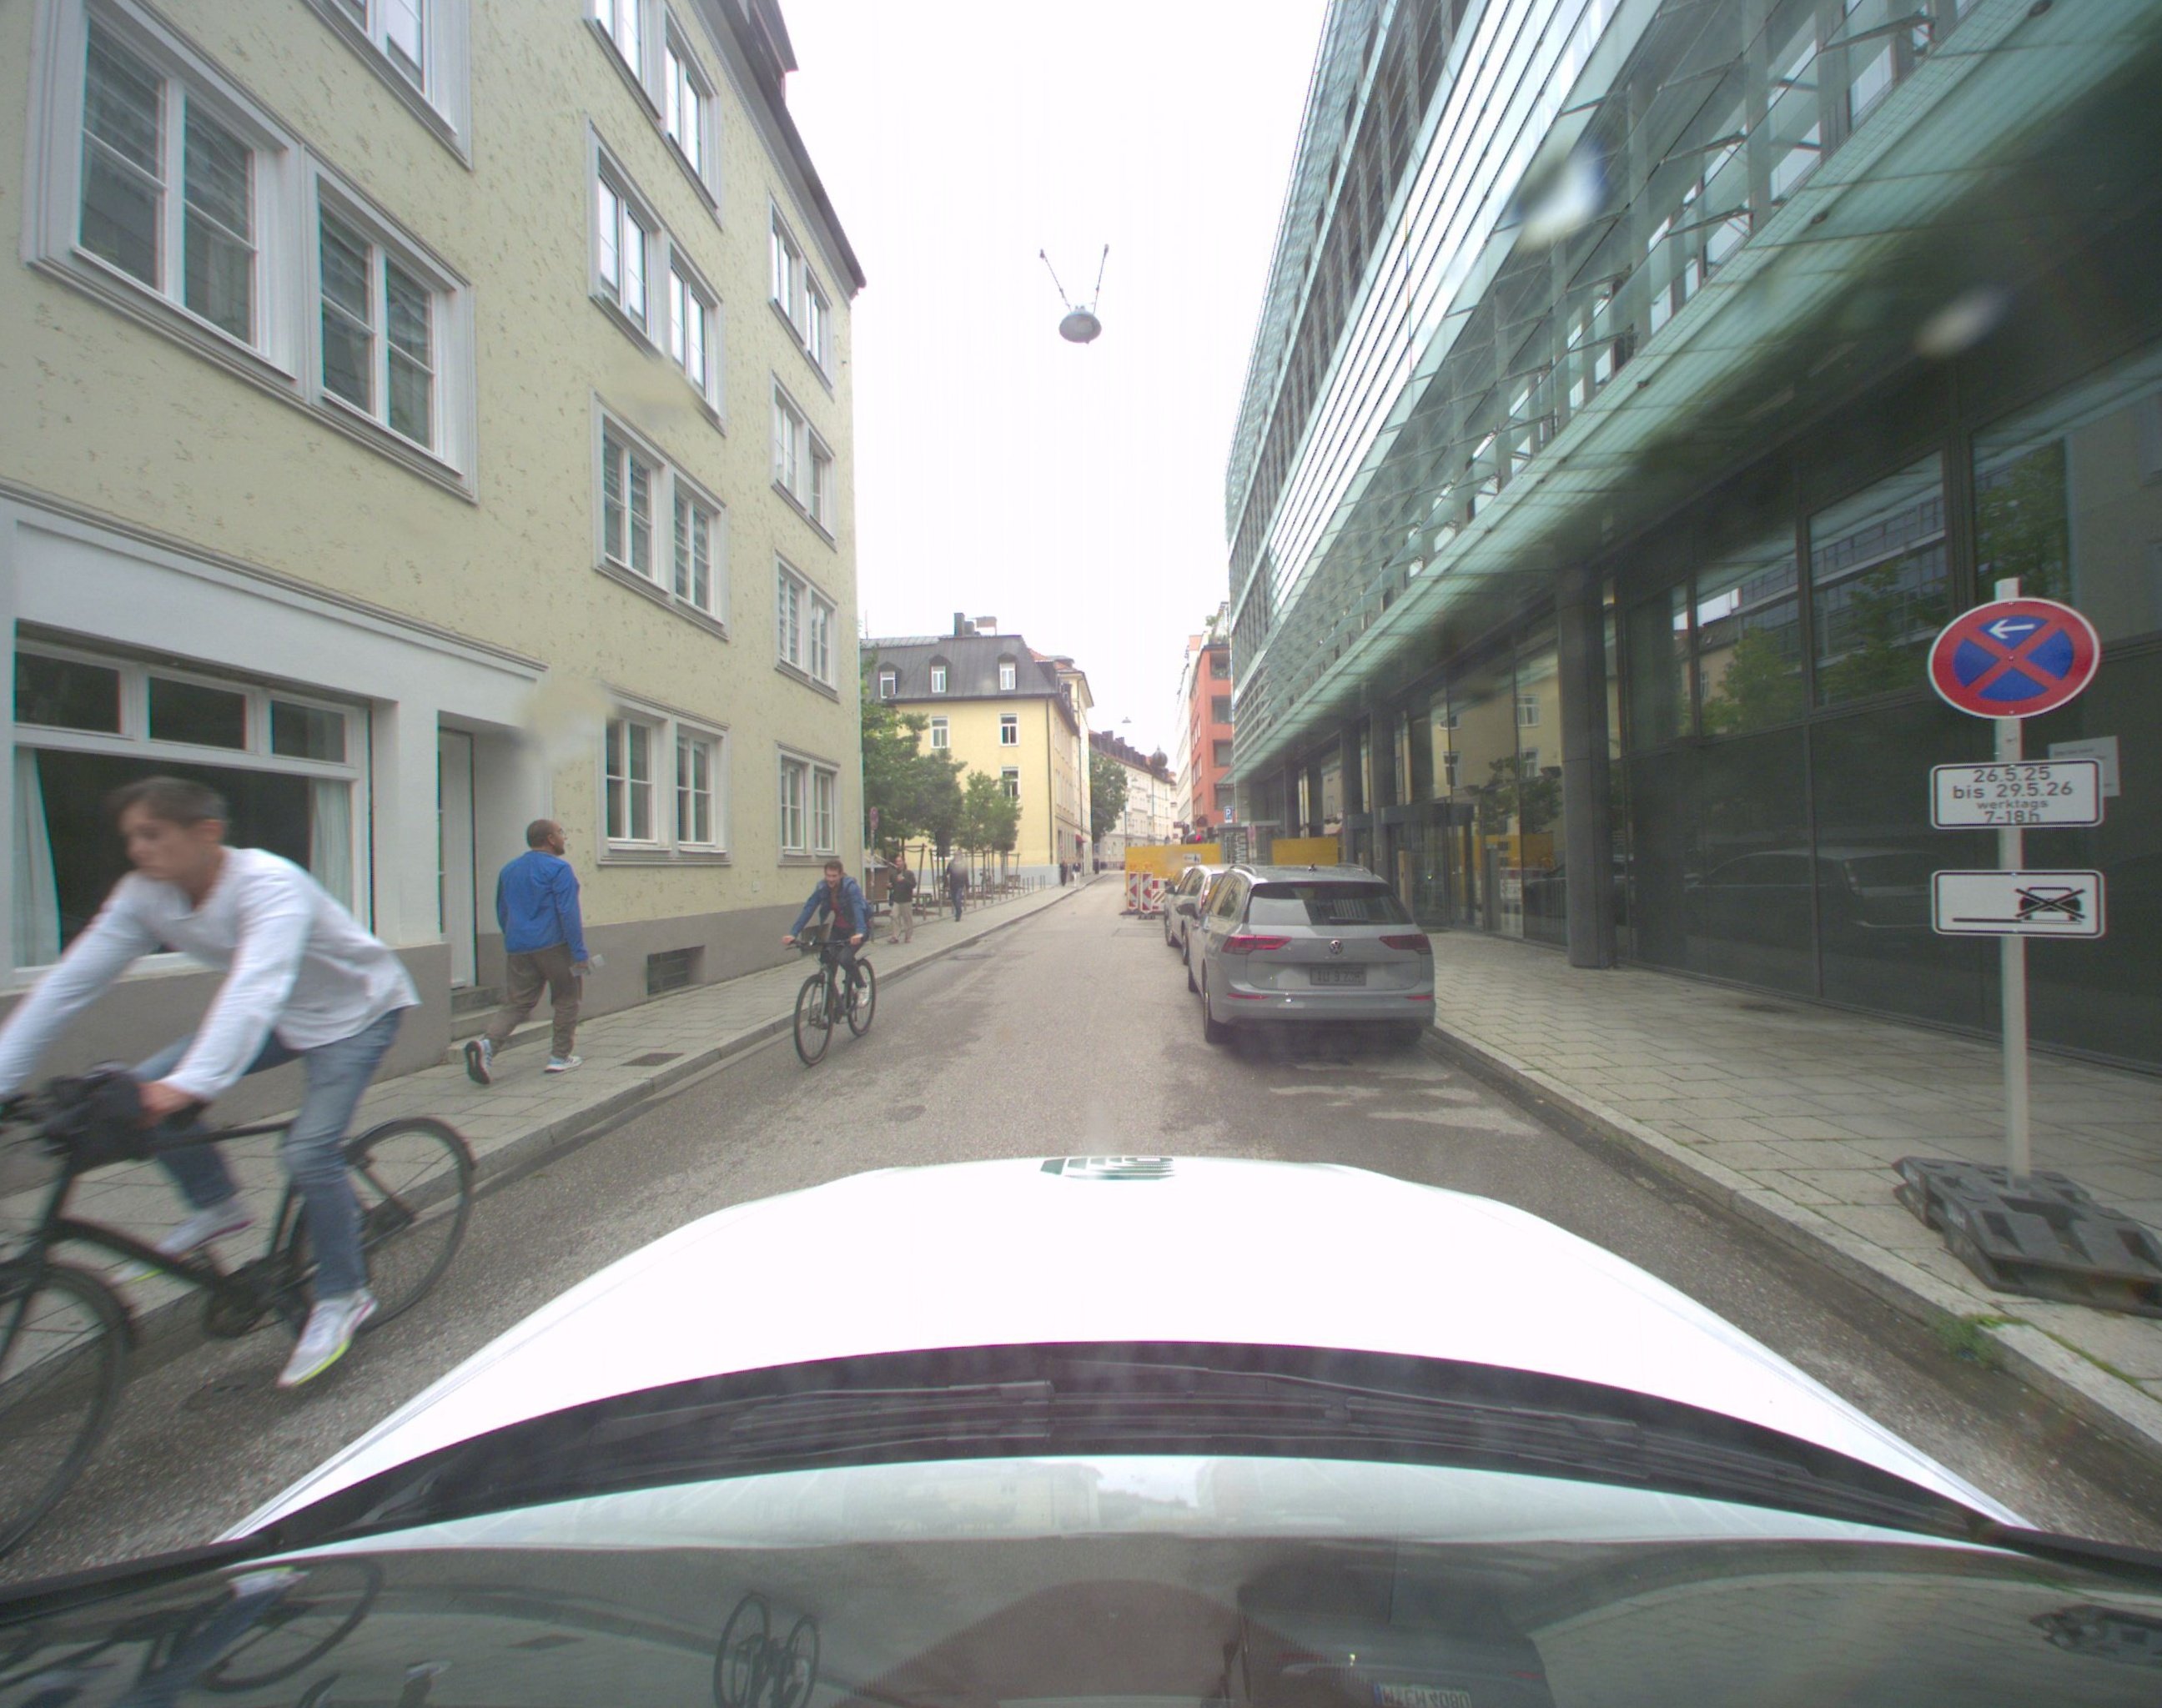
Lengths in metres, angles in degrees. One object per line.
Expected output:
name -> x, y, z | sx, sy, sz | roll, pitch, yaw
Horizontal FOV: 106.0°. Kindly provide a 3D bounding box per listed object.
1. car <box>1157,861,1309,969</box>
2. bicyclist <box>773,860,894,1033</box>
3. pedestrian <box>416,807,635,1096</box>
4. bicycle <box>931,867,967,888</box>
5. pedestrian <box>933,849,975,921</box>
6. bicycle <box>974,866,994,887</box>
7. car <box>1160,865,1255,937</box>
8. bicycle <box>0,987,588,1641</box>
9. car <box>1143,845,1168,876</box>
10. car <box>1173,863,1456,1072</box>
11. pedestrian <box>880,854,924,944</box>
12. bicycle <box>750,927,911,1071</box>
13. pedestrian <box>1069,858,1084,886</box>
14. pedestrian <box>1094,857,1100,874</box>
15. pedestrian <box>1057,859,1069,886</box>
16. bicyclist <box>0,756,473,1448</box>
car -> 2.262, 0.853, 13.175 | 1.701, 1.467, 4.237 | 0, -1, 1
bicyclist -> -2.086, 0.749, 6.950 | 0.705, 1.371, 0.814 | -2, -1, 3
pedestrian -> -3.872, 0.631, 5.782 | 0.753, 1.854, 1.078 | 0, -1, 4
bicycle -> -7.789, 1.402, 48.009 | 2.030, 1.198, 0.572 | -1, -1, 10
pedestrian -> -3.386, 0.816, 21.807 | 0.864, 1.881, 1.135 | -1, -1, 3
bicycle -> -5.467, 1.255, 45.940 | 0.506, 1.144, 2.059 | -1, -1, 12
car -> 2.715, 0.951, 18.322 | 1.700, 1.414, 4.514 | 0, -1, 4
bicycle -> -2.471, 1.082, 2.428 | 0.658, 1.039, 2.006 | -2, -1, 4
car -> 6.408, 0.571, 70.381 | 1.985, 2.537, 4.979 | -1, 0, 3
car -> 1.877, 0.822, 7.889 | 1.701, 1.432, 4.333 | -2, -1, 3
pedestrian -> -3.443, 0.855, 15.699 | 0.644, 1.676, 0.724 | -1, -1, 3
bicycle -> -2.067, 1.170, 7.006 | 0.704, 0.905, 1.811 | -2, -1, 3
pedestrian -> -0.274, 1.107, 50.343 | 0.836, 1.700, 0.803 | -1, -1, 3
pedestrian -> 1.628, 1.168, 83.223 | 0.632, 1.675, 0.518 | -1, -1, 3
pedestrian -> -1.118, 1.123, 50.546 | 0.667, 1.648, 0.762 | -1, -1, 3
bicyclist -> -2.492, 0.601, 2.405 | 0.657, 1.643, 0.896 | -2, -1, 3
